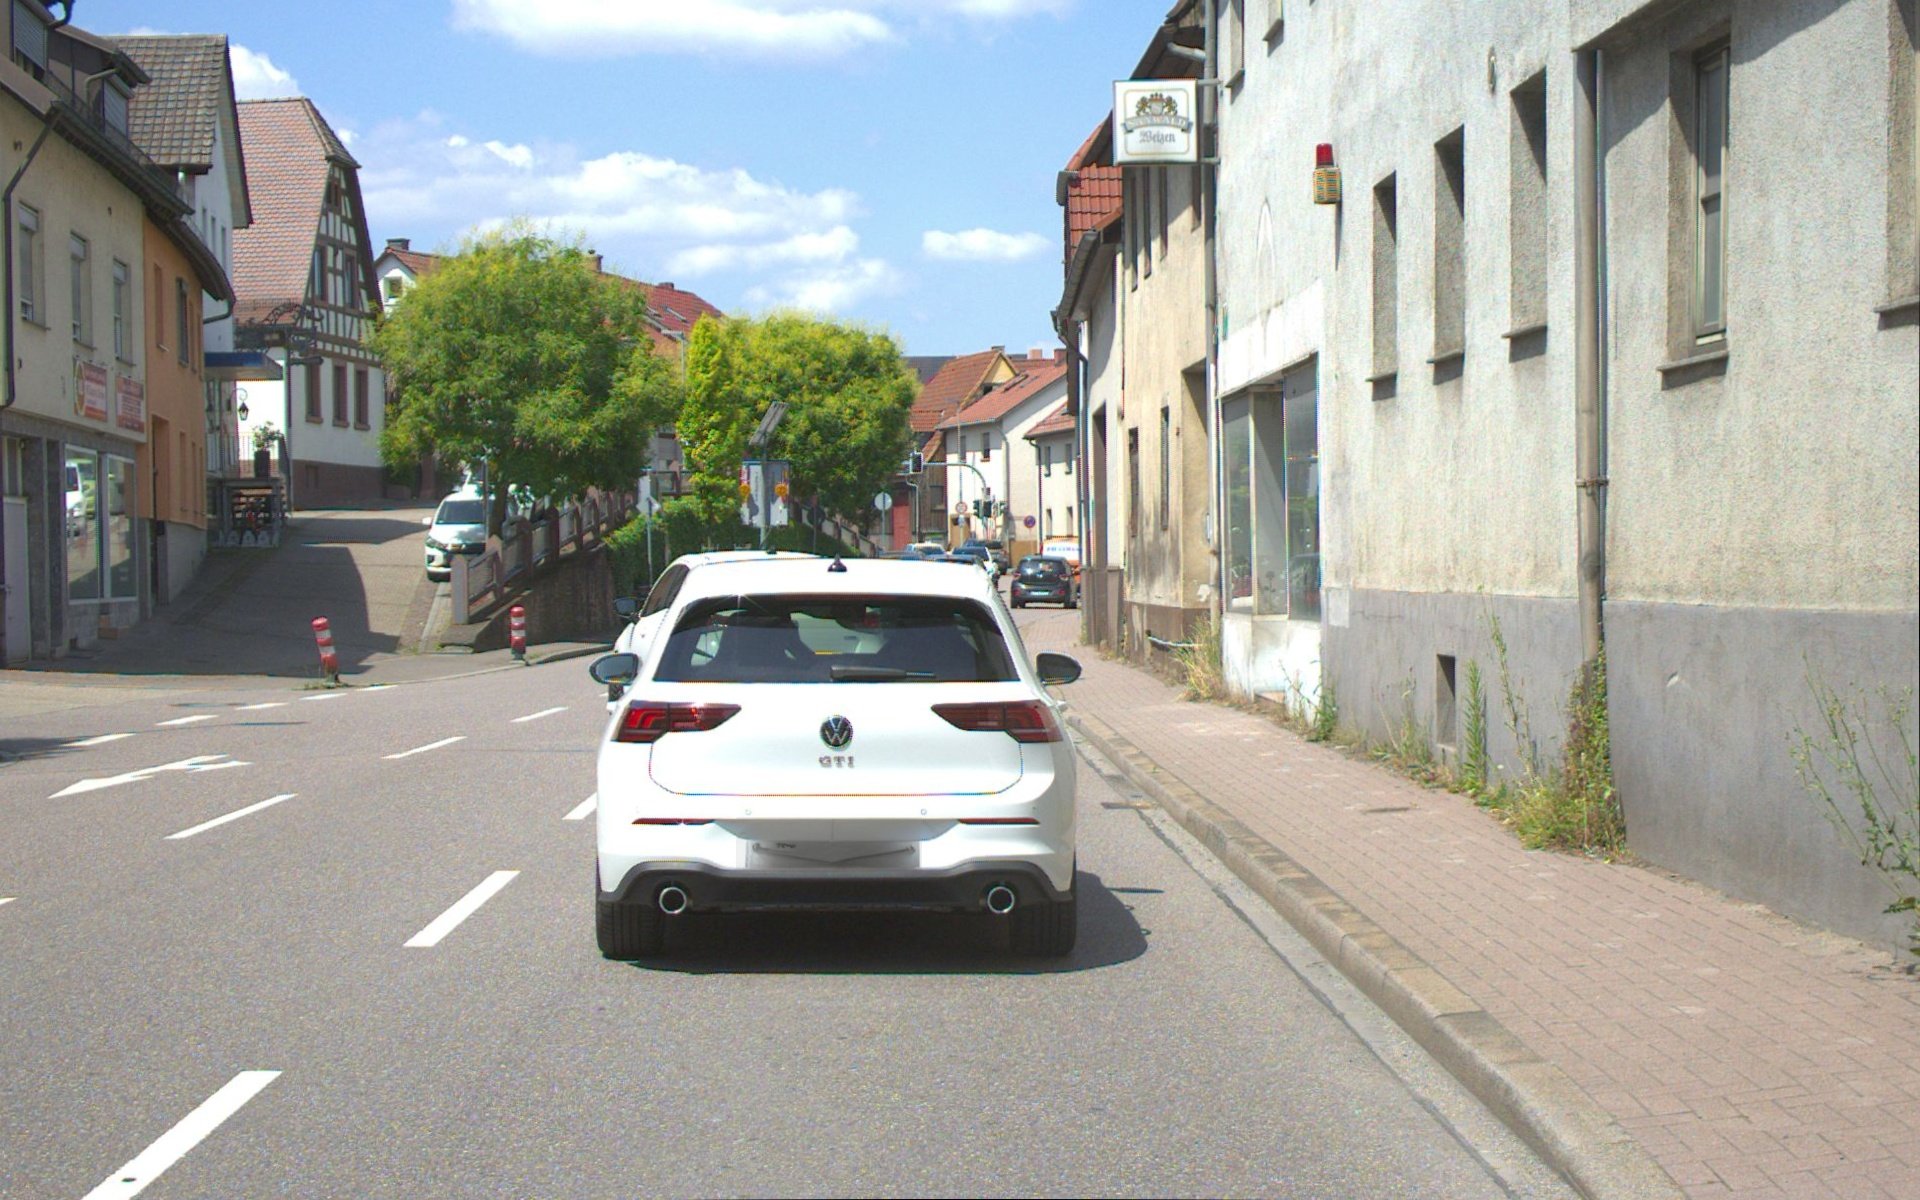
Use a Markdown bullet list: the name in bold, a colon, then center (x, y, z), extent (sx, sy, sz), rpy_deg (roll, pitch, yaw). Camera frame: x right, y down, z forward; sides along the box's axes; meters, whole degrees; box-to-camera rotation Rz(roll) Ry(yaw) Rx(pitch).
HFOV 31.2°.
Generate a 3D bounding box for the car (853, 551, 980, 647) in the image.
- **car**: center (-0.665, -0.032, 55.092), extent (1.808, 1.462, 4.000), rpy_deg (1, 1, 2)

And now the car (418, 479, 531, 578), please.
- **car**: center (-9.348, -1.411, 66.443), extent (1.693, 1.537, 3.857), rpy_deg (-1, 7, -1)

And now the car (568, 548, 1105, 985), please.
- **car**: center (-0.399, 0.542, 13.680), extent (1.808, 1.462, 4.000), rpy_deg (1, 1, 1)

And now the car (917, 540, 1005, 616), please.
- **car**: center (0.041, -0.482, 72.986), extent (1.775, 1.533, 4.000), rpy_deg (-1, 1, 1)

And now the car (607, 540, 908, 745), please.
- **car**: center (-1.657, 0.285, 26.791), extent (1.807, 1.462, 4.001), rpy_deg (1, 1, -11)

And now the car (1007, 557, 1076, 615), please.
- **car**: center (2.311, -0.413, 96.427), extent (1.775, 1.533, 4.000), rpy_deg (-1, 1, 4)

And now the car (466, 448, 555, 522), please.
- **car**: center (-10.232, -2.640, 78.438), extent (1.576, 1.357, 3.857), rpy_deg (-1, 7, -1)

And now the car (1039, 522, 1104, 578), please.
- **car**: center (3.649, -1.632, 112.206), extent (1.776, 1.759, 3.999), rpy_deg (-1, 1, 6)
